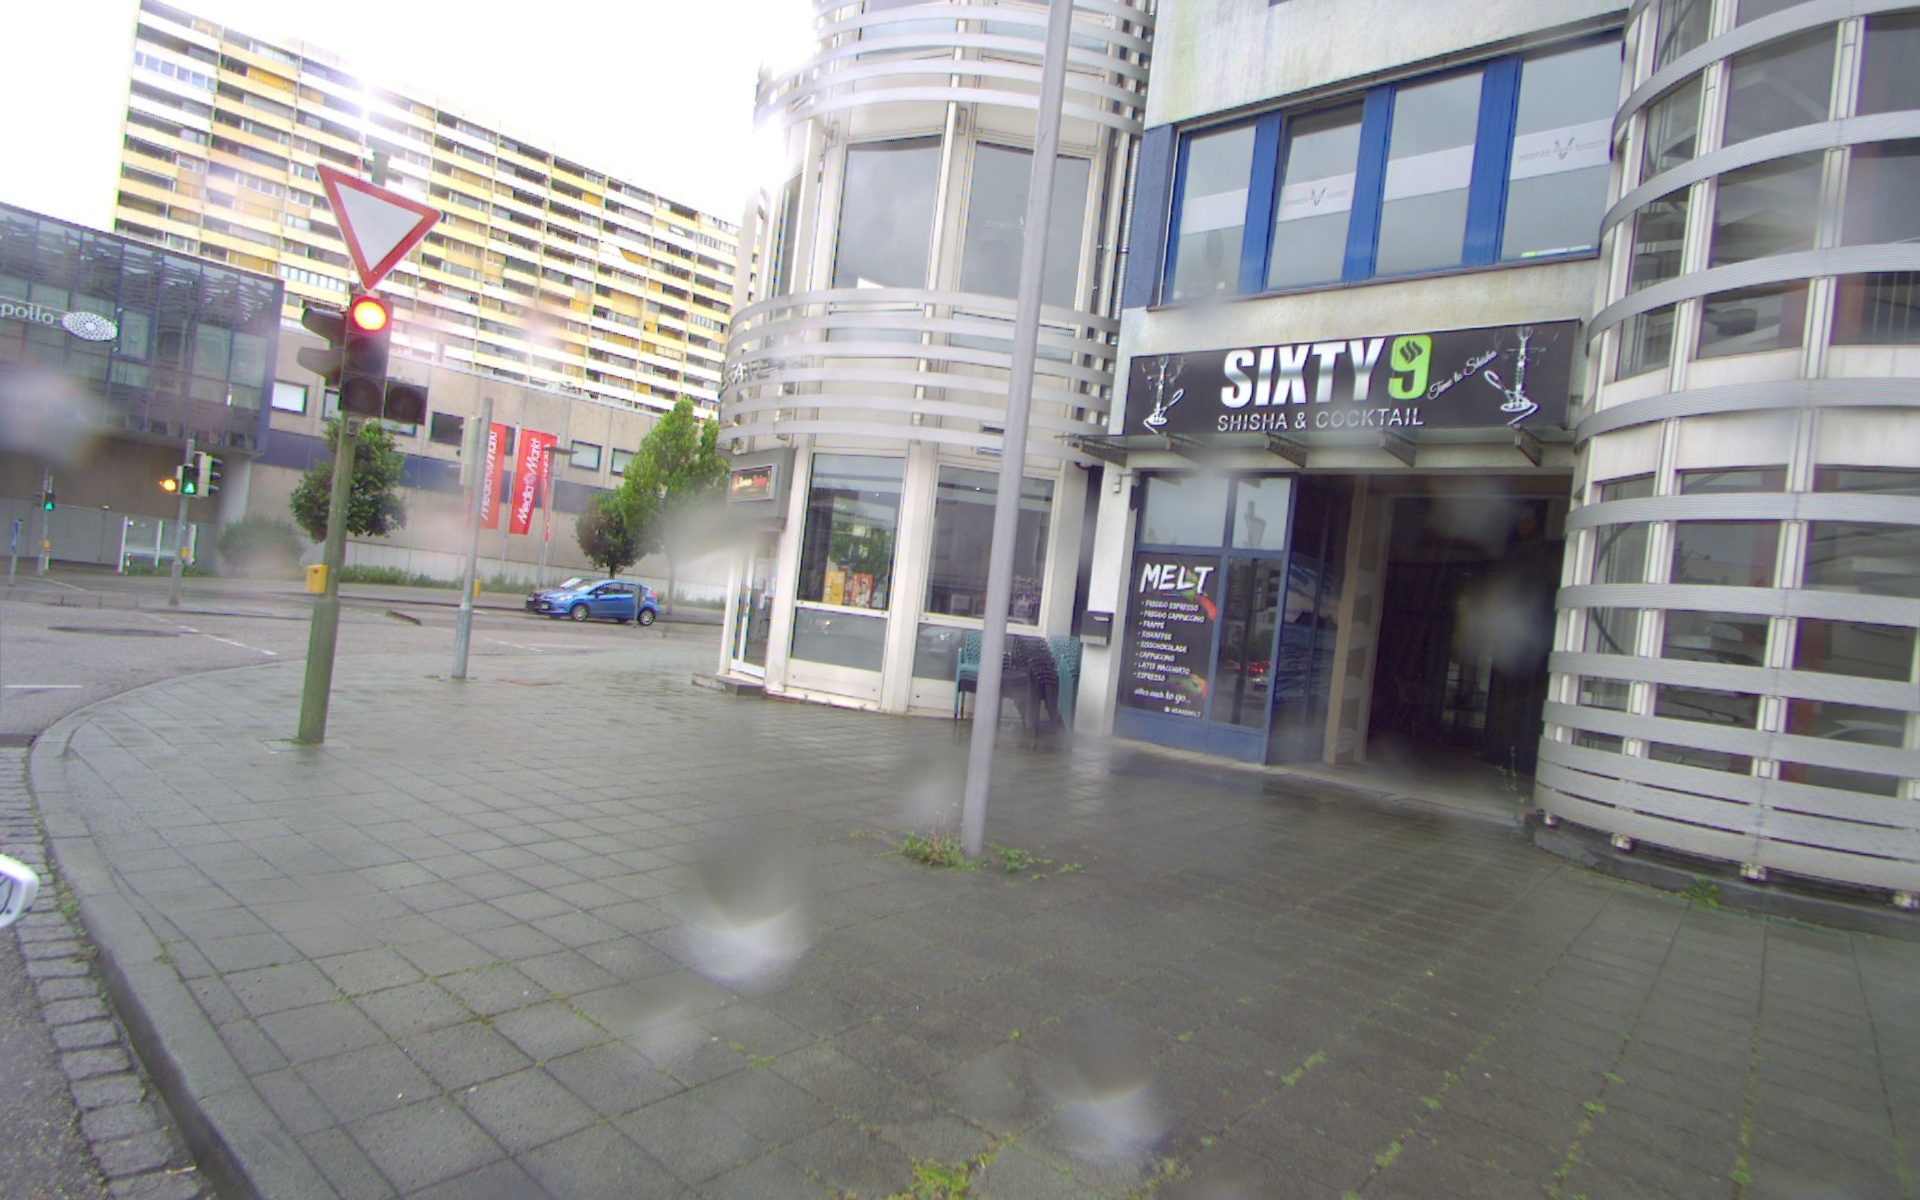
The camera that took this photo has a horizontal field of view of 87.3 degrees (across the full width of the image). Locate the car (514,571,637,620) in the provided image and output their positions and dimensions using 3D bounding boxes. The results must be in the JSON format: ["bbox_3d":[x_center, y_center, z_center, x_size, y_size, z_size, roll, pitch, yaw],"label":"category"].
[{"bbox_3d":[-13.747,-0.135,36.073,1.720,1.412,3.677,5,0,41],"label":"car"}]

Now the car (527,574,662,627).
[{"bbox_3d":[-12.073,0.054,33.410,1.655,1.415,3.837,5,0,40],"label":"car"}]
